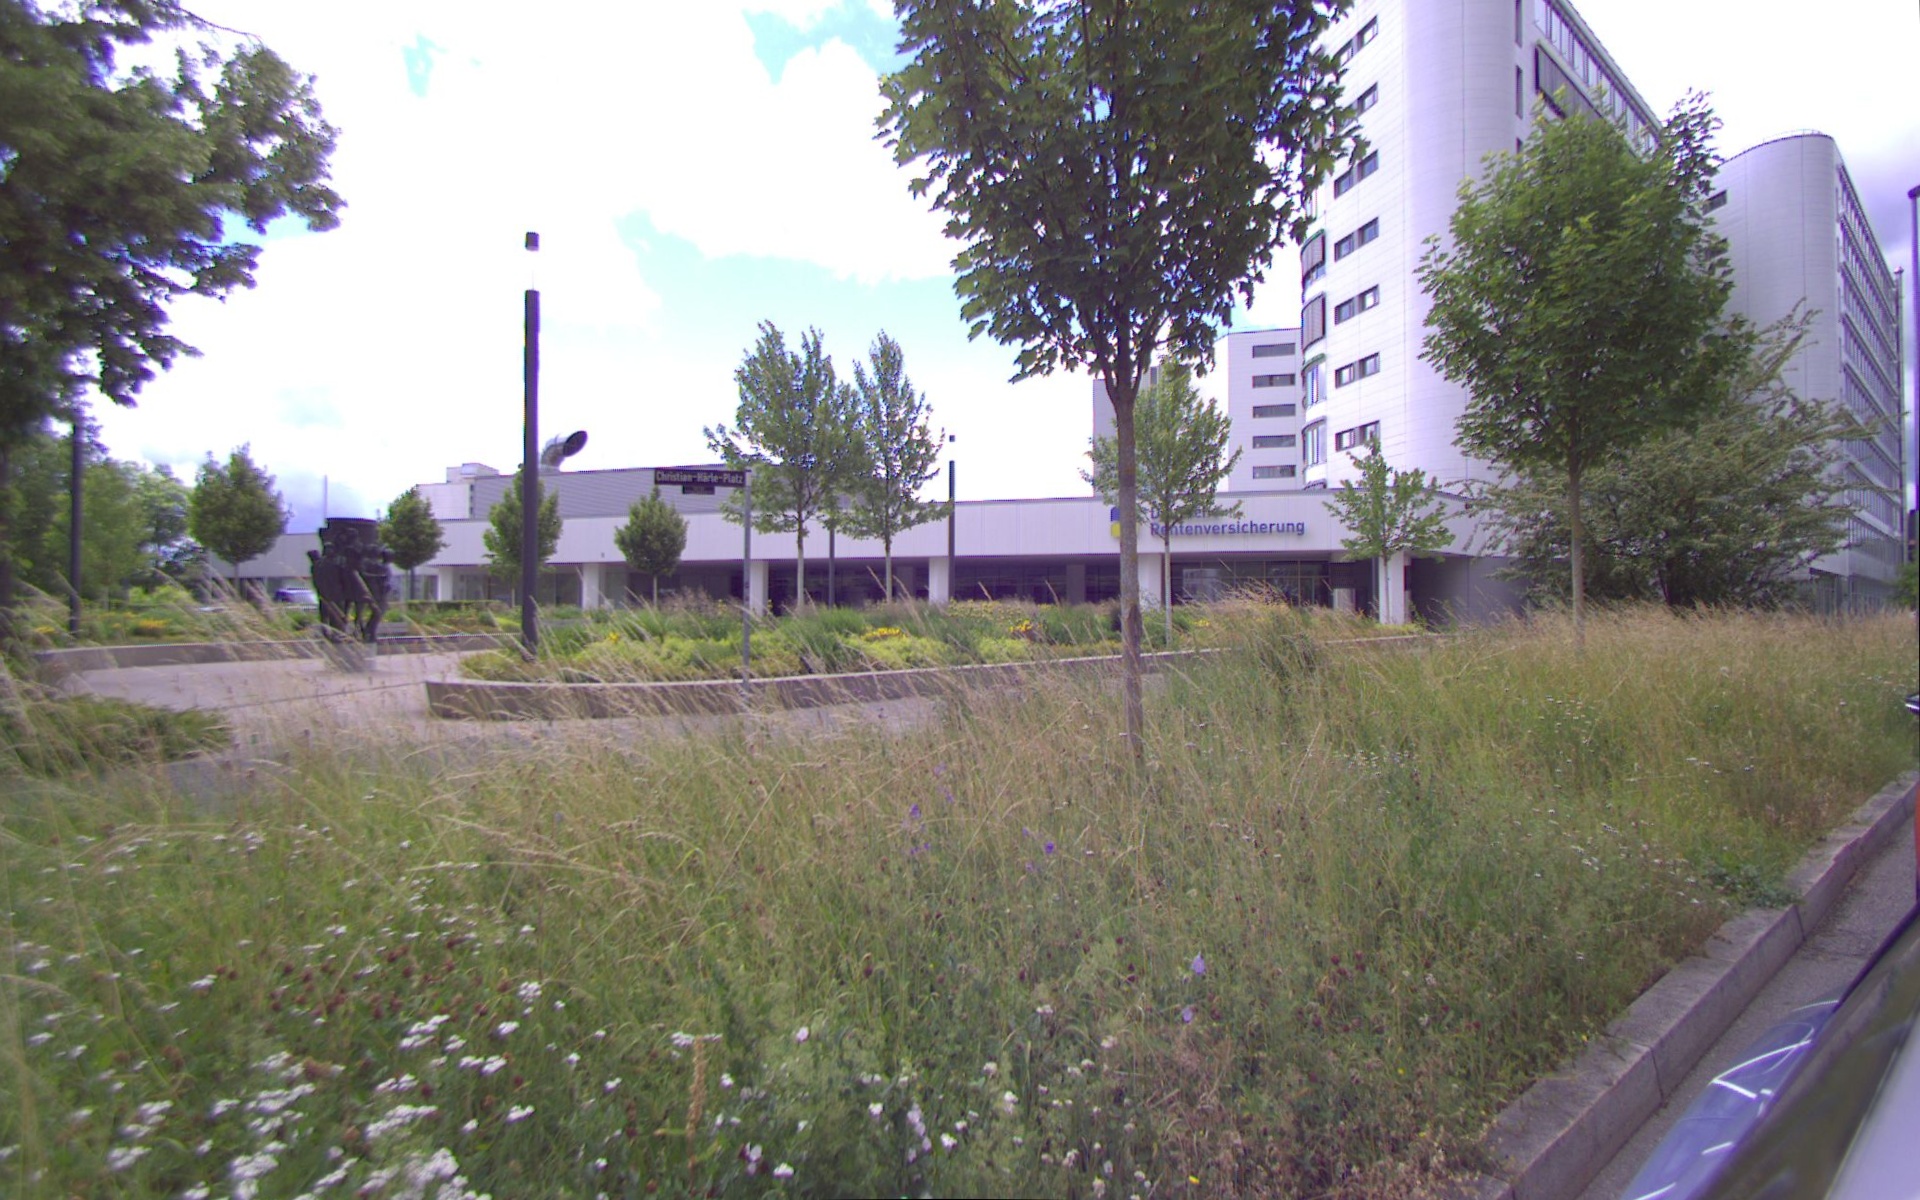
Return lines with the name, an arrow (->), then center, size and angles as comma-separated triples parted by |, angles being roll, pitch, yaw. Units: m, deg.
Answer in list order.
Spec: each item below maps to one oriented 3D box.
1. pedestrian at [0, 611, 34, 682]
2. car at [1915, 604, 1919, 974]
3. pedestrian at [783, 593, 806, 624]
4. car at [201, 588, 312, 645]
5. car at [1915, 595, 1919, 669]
pedestrian -> -17.468, 0.841, 18.678 | 0.560, 1.278, 0.581 | 0, 0, -43
car -> 5.916, 0.751, 4.758 | 3.930, 1.498, 1.691 | -1, 0, -41
pedestrian -> -7.086, 0.352, 43.329 | 0.869, 1.290, 0.704 | 1, 0, 2
car -> -23.386, 0.521, 33.620 | 3.470, 1.788, 1.622 | 0, 0, 27
car -> 22.606, 0.710, 22.493 | 3.386, 1.594, 1.736 | 0, 0, -42
